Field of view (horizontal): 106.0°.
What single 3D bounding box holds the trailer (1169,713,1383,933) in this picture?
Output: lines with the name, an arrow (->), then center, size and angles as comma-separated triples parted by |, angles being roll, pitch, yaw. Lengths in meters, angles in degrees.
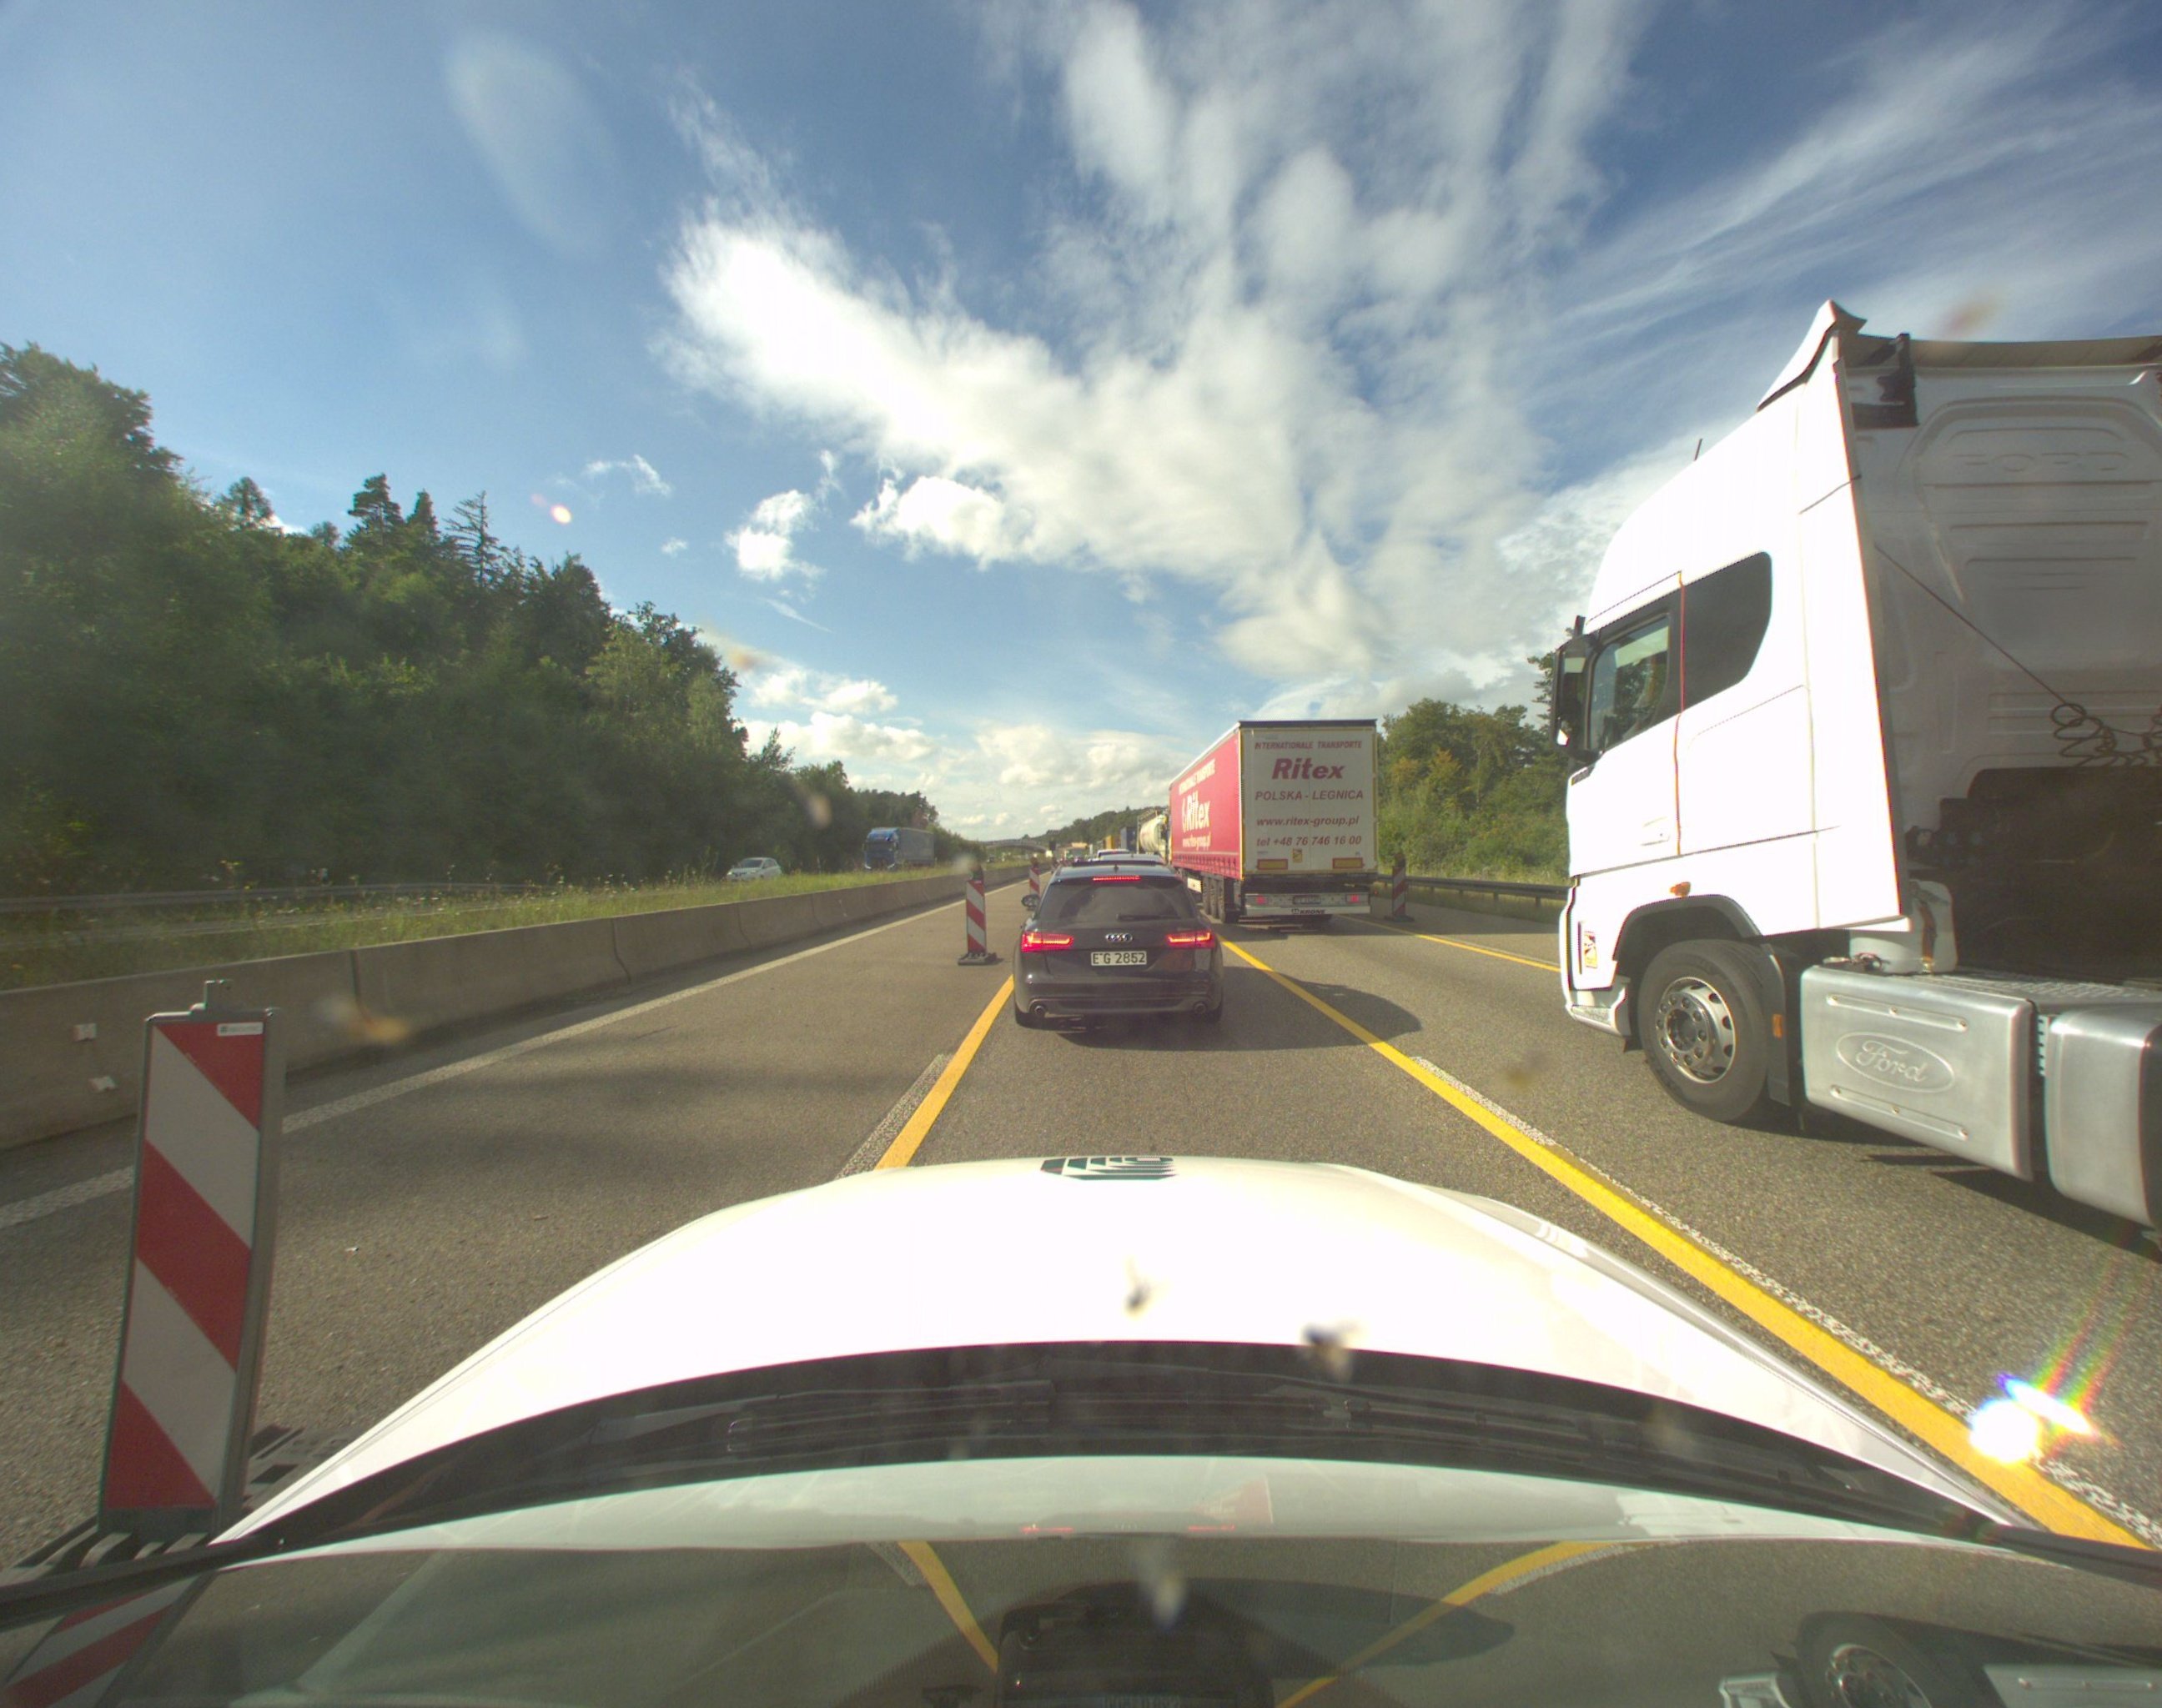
trailer -> 4.271, -0.554, 21.529 | 2.690, 3.969, 13.420 | 0, 0, 1

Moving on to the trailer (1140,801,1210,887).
trailer -> 4.754, -0.445, 43.568 | 2.634, 3.943, 12.602 | 0, 0, 2

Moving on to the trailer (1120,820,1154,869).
trailer -> 5.285, -0.792, 78.330 | 2.795, 4.413, 10.436 | 0, -1, 2

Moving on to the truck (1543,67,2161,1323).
truck -> 4.520, -0.478, 2.982 | 2.485, 3.780, 5.792 | -1, 0, 2

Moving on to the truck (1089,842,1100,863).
truck -> 2.817, -0.246, 170.846 | 2.130, 4.257, 7.073 | 0, -1, 1

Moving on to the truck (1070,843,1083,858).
truck -> -1.396, -0.873, 236.531 | 3.297, 4.175, 9.688 | 0, -1, -4

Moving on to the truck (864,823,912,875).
truck -> -16.376, -0.394, 69.401 | 2.628, 4.189, 5.469 | 0, 0, 2

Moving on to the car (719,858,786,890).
car -> -17.123, 1.015, 42.690 | 1.780, 1.560, 4.001 | 0, -1, 2

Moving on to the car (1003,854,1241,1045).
car -> 0.382, 0.767, 8.372 | 1.842, 1.463, 4.001 | -1, -1, 2

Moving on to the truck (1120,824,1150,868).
truck -> 5.475, -0.753, 84.205 | 2.796, 4.370, 7.794 | 0, -1, 2

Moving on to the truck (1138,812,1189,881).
truck -> 4.936, -0.407, 49.742 | 2.649, 3.972, 5.780 | 0, -1, 2

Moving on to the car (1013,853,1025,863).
car -> -12.368, 0.715, 162.385 | 1.987, 1.948, 3.999 | 0, -1, 0

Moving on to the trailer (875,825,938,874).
trailer -> -16.145, -0.383, 76.457 | 2.610, 4.141, 13.377 | 0, 0, 2

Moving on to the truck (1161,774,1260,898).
truck -> 4.436, -0.583, 28.964 | 2.658, 3.959, 5.711 | 0, 0, 1

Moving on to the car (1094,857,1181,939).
car -> 1.046, 0.784, 15.898 | 1.518, 1.439, 3.286 | 0, -1, 2

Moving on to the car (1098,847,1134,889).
car -> 1.607, 0.632, 37.525 | 1.575, 1.837, 3.113 | 0, -1, 2

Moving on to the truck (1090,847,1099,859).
truck -> 3.805, -0.204, 235.632 | 2.558, 3.466, 7.398 | 0, -1, 0

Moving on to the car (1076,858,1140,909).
car -> 0.787, 0.818, 24.085 | 1.745, 1.397, 3.609 | 0, -1, 2

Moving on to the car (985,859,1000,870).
car -> -13.514, 1.623, 124.235 | 1.709, 1.706, 3.524 | 0, -1, 2

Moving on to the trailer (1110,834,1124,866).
trailer -> 4.616, -0.465, 105.627 | 1.611, 3.918, 6.490 | 0, -1, 1

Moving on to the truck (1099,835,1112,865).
truck -> 4.209, -0.626, 138.970 | 1.987, 4.914, 9.562 | 0, 0, 0
